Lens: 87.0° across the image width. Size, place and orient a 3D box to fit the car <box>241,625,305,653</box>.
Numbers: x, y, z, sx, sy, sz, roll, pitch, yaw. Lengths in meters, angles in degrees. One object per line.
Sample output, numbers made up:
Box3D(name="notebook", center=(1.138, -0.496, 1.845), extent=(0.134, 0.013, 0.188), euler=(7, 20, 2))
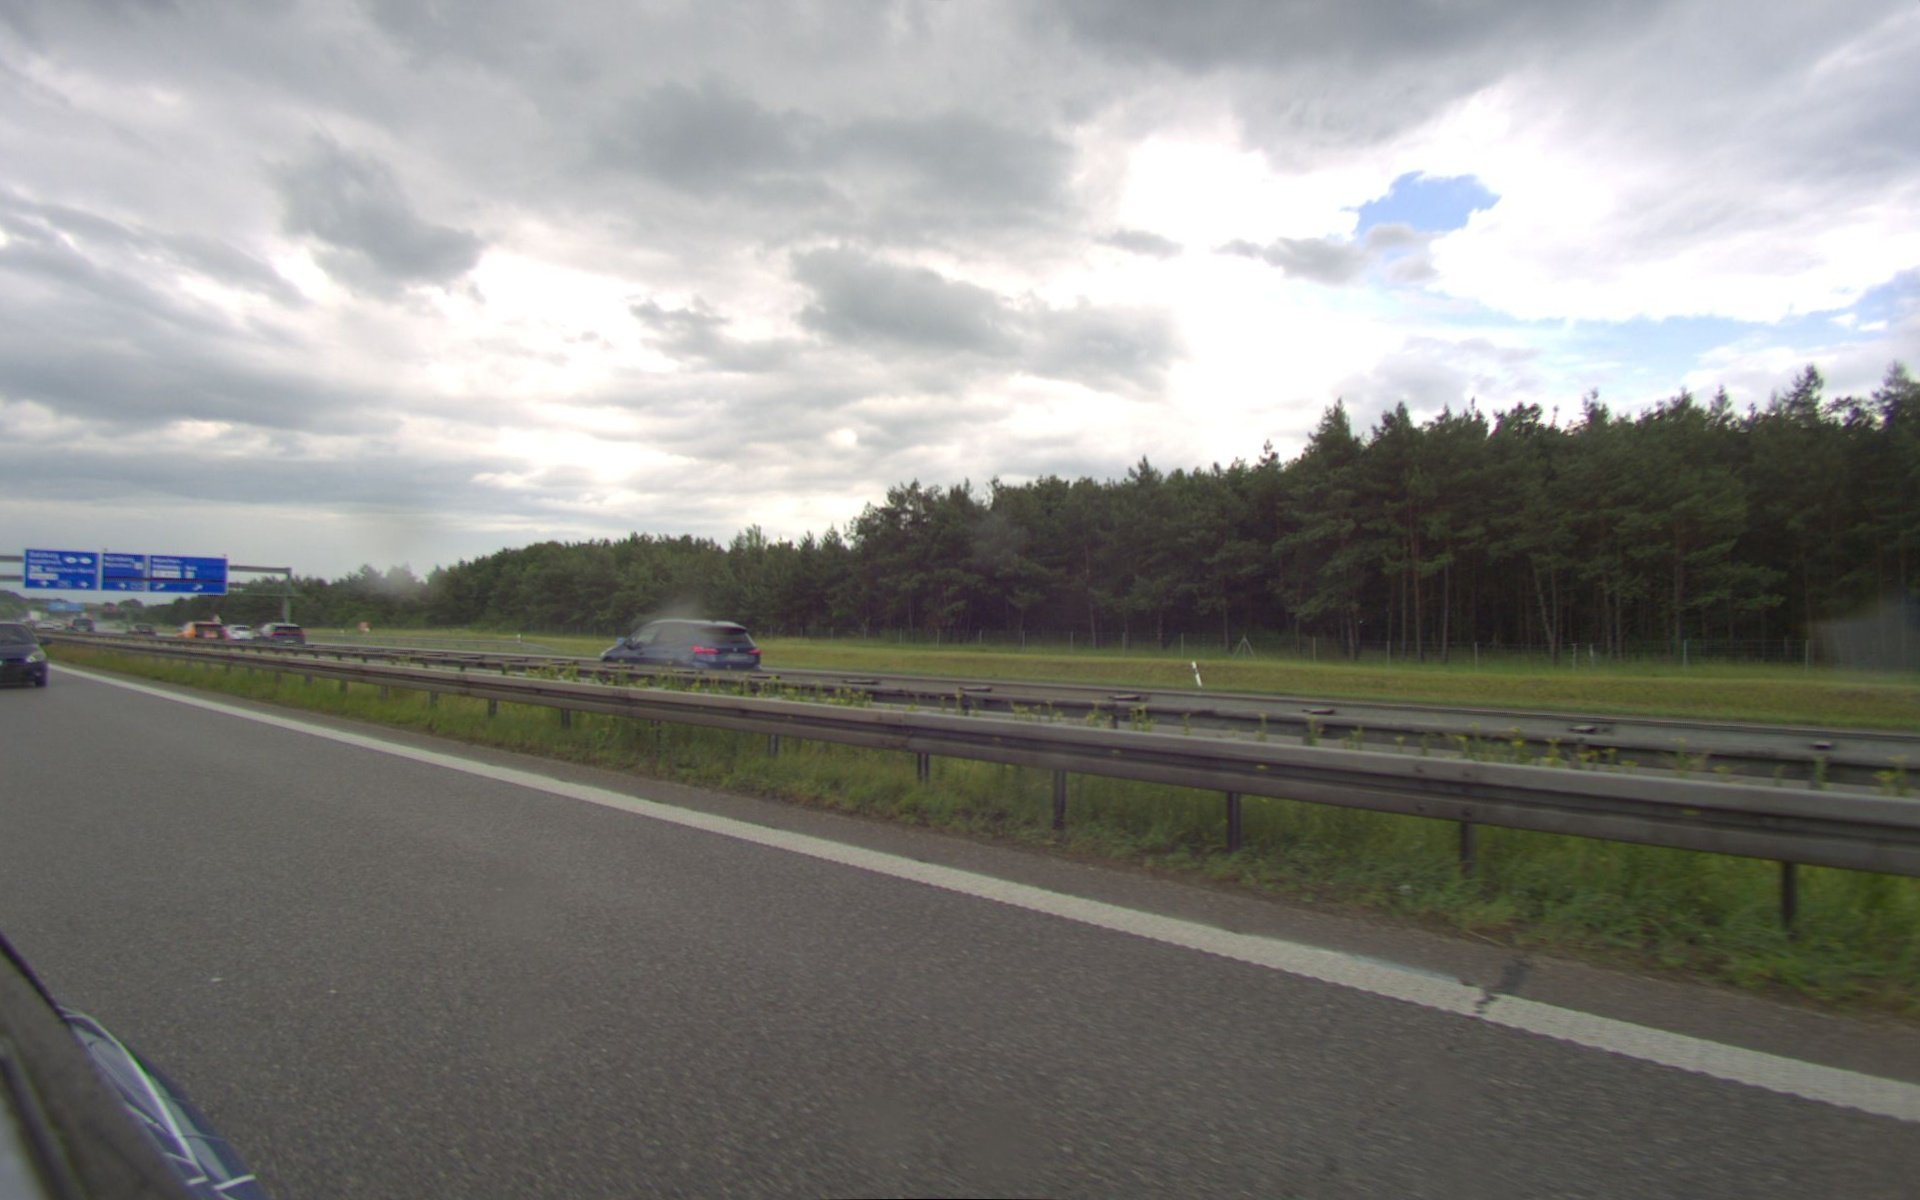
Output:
Box3D(name="car", center=(-38.536, 2.162, 56.720), extent=(4.650, 1.467, 1.896), euler=(-1, -2, 42))

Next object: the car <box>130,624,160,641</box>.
Box3D(name="car", center=(-72.550, 2.850, 90.068), extent=(4.402, 1.483, 1.619), euler=(-1, -2, 45))

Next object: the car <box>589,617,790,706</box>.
Box3D(name="car", center=(-5.735, 1.202, 21.183), extent=(4.468, 1.674, 1.841), euler=(-1, -2, 40))

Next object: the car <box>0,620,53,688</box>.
Box3D(name="car", center=(-21.156, 1.136, 22.002), extent=(4.432, 1.339, 1.785), euler=(-1, 0, 43))

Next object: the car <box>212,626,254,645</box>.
Box3D(name="car", center=(-57.908, 2.791, 80.608), extent=(4.818, 1.483, 1.771), euler=(-1, -2, 42))

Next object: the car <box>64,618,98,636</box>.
Box3D(name="car", center=(-78.923, 2.393, 90.889), extent=(4.118, 1.483, 1.971), euler=(-1, 0, 44))

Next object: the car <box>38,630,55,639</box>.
Box3D(name="car", center=(-154.462, 5.806, 171.187), extent=(3.999, 1.586, 1.701), euler=(-2, -3, 42))

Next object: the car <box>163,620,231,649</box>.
Box3D(name="car", center=(-38.911, 1.736, 51.594), extent=(4.650, 1.375, 1.896), euler=(-1, -2, 42))
